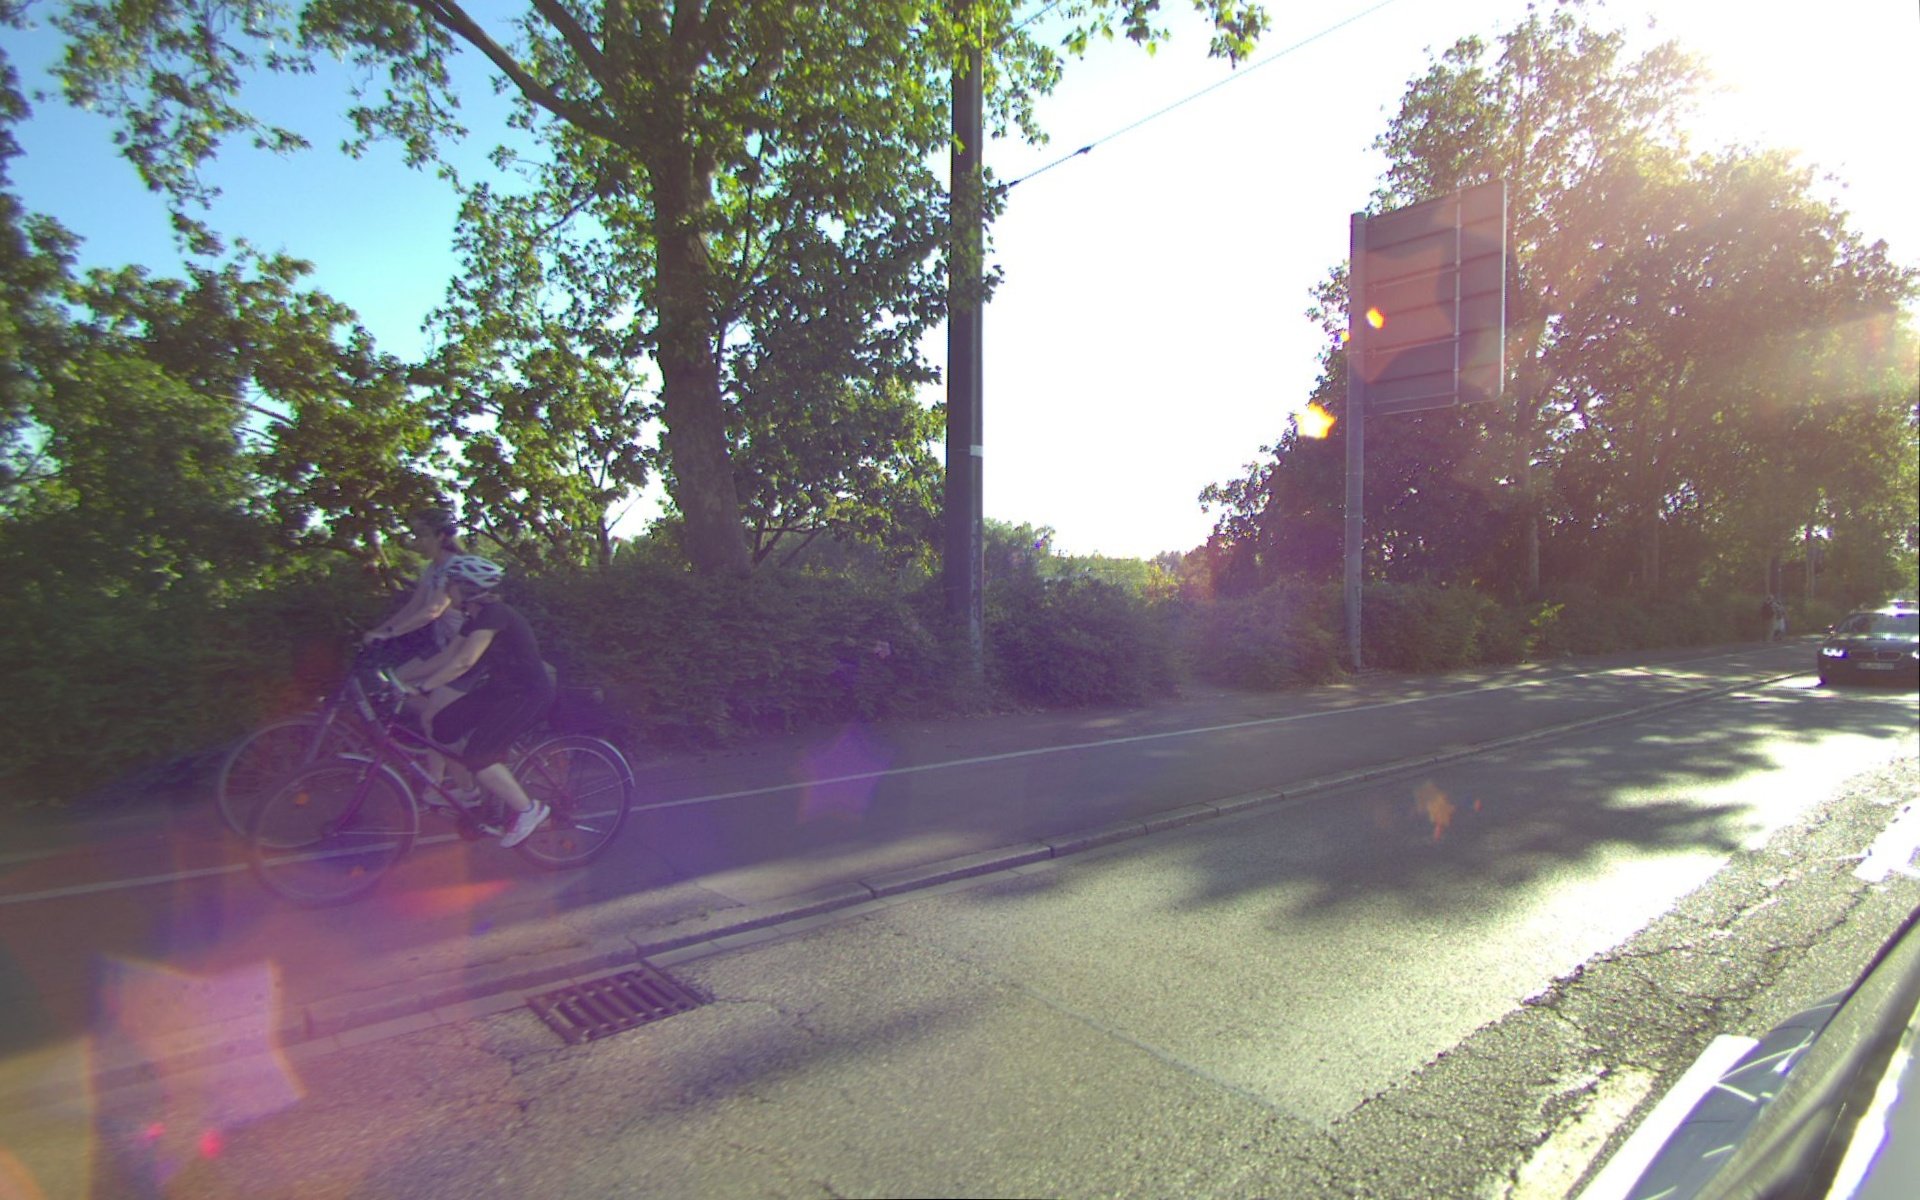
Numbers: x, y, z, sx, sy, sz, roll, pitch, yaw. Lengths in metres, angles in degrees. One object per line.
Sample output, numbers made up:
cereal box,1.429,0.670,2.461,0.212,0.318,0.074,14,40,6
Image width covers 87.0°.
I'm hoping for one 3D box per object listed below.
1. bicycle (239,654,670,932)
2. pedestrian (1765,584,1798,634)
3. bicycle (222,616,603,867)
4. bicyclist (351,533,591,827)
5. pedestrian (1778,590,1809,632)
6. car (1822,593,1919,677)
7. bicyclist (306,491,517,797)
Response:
bicycle,-2.335,0.812,4.828,1.757,0.986,0.566,-1,2,-42
pedestrian,29.432,0.319,36.257,0.799,1.729,0.723,1,2,-42
bicycle,-2.996,0.689,5.658,1.782,1.134,0.623,0,2,-42
bicyclist,-2.319,0.327,4.807,0.875,1.241,0.642,1,2,-41
pedestrian,30.756,0.408,37.339,0.709,1.498,0.724,1,2,-42
car,18.537,0.613,19.849,4.507,1.486,1.869,-1,1,-41
bicyclist,-3.035,0.206,5.599,0.875,1.527,0.687,1,2,-41
